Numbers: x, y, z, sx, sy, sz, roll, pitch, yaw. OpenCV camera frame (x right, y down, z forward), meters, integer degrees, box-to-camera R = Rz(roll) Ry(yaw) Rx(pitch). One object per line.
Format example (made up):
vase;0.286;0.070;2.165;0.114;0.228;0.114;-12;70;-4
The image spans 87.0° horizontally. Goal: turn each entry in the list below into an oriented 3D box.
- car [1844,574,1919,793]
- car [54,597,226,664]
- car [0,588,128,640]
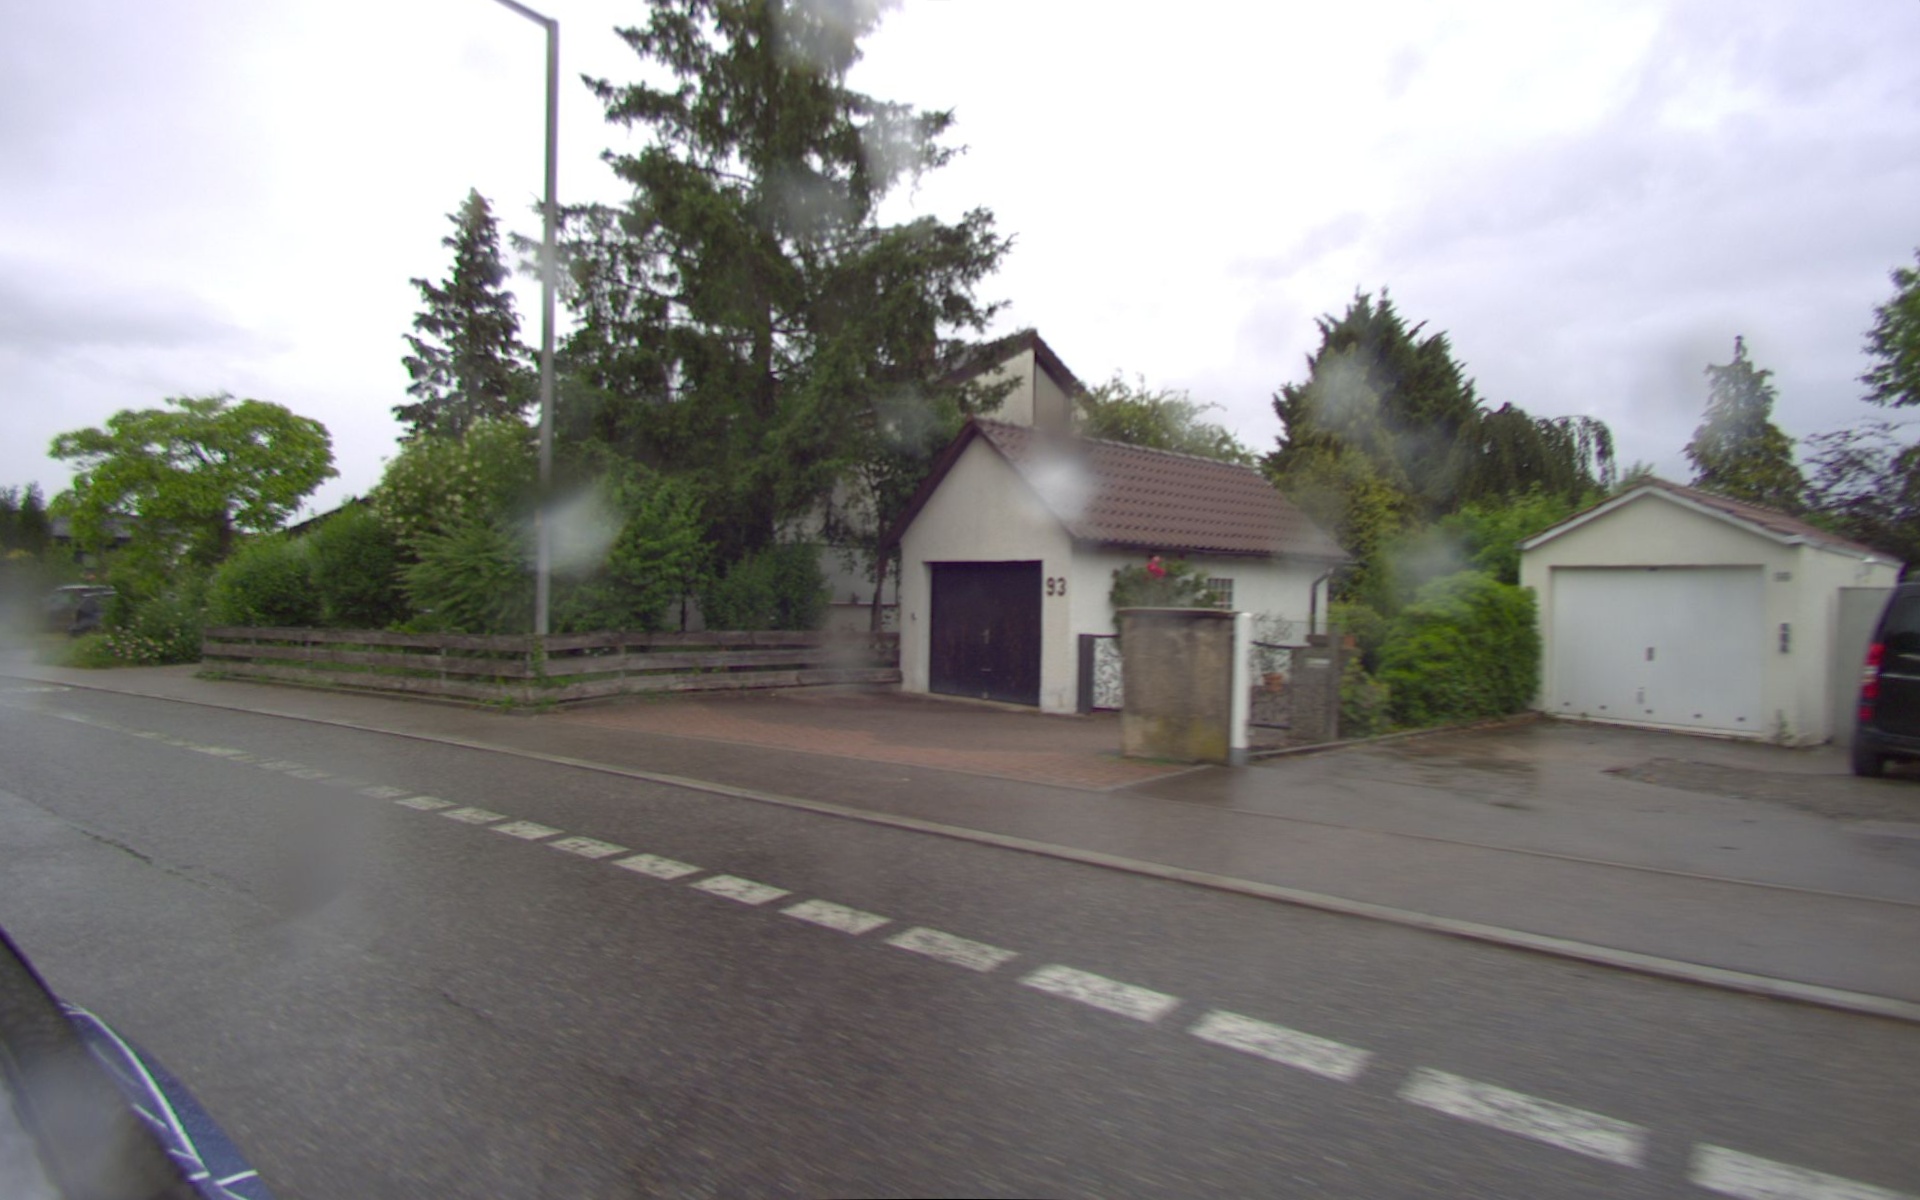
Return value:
car;9.692;0.682;9.149;3.937;1.797;2.003;0;-1;-41
car;-19.407;0.699;24.100;2.988;1.491;1.459;0;-1;-30
car;-26.992;0.414;29.929;3.683;1.491;1.457;0;-1;-40
